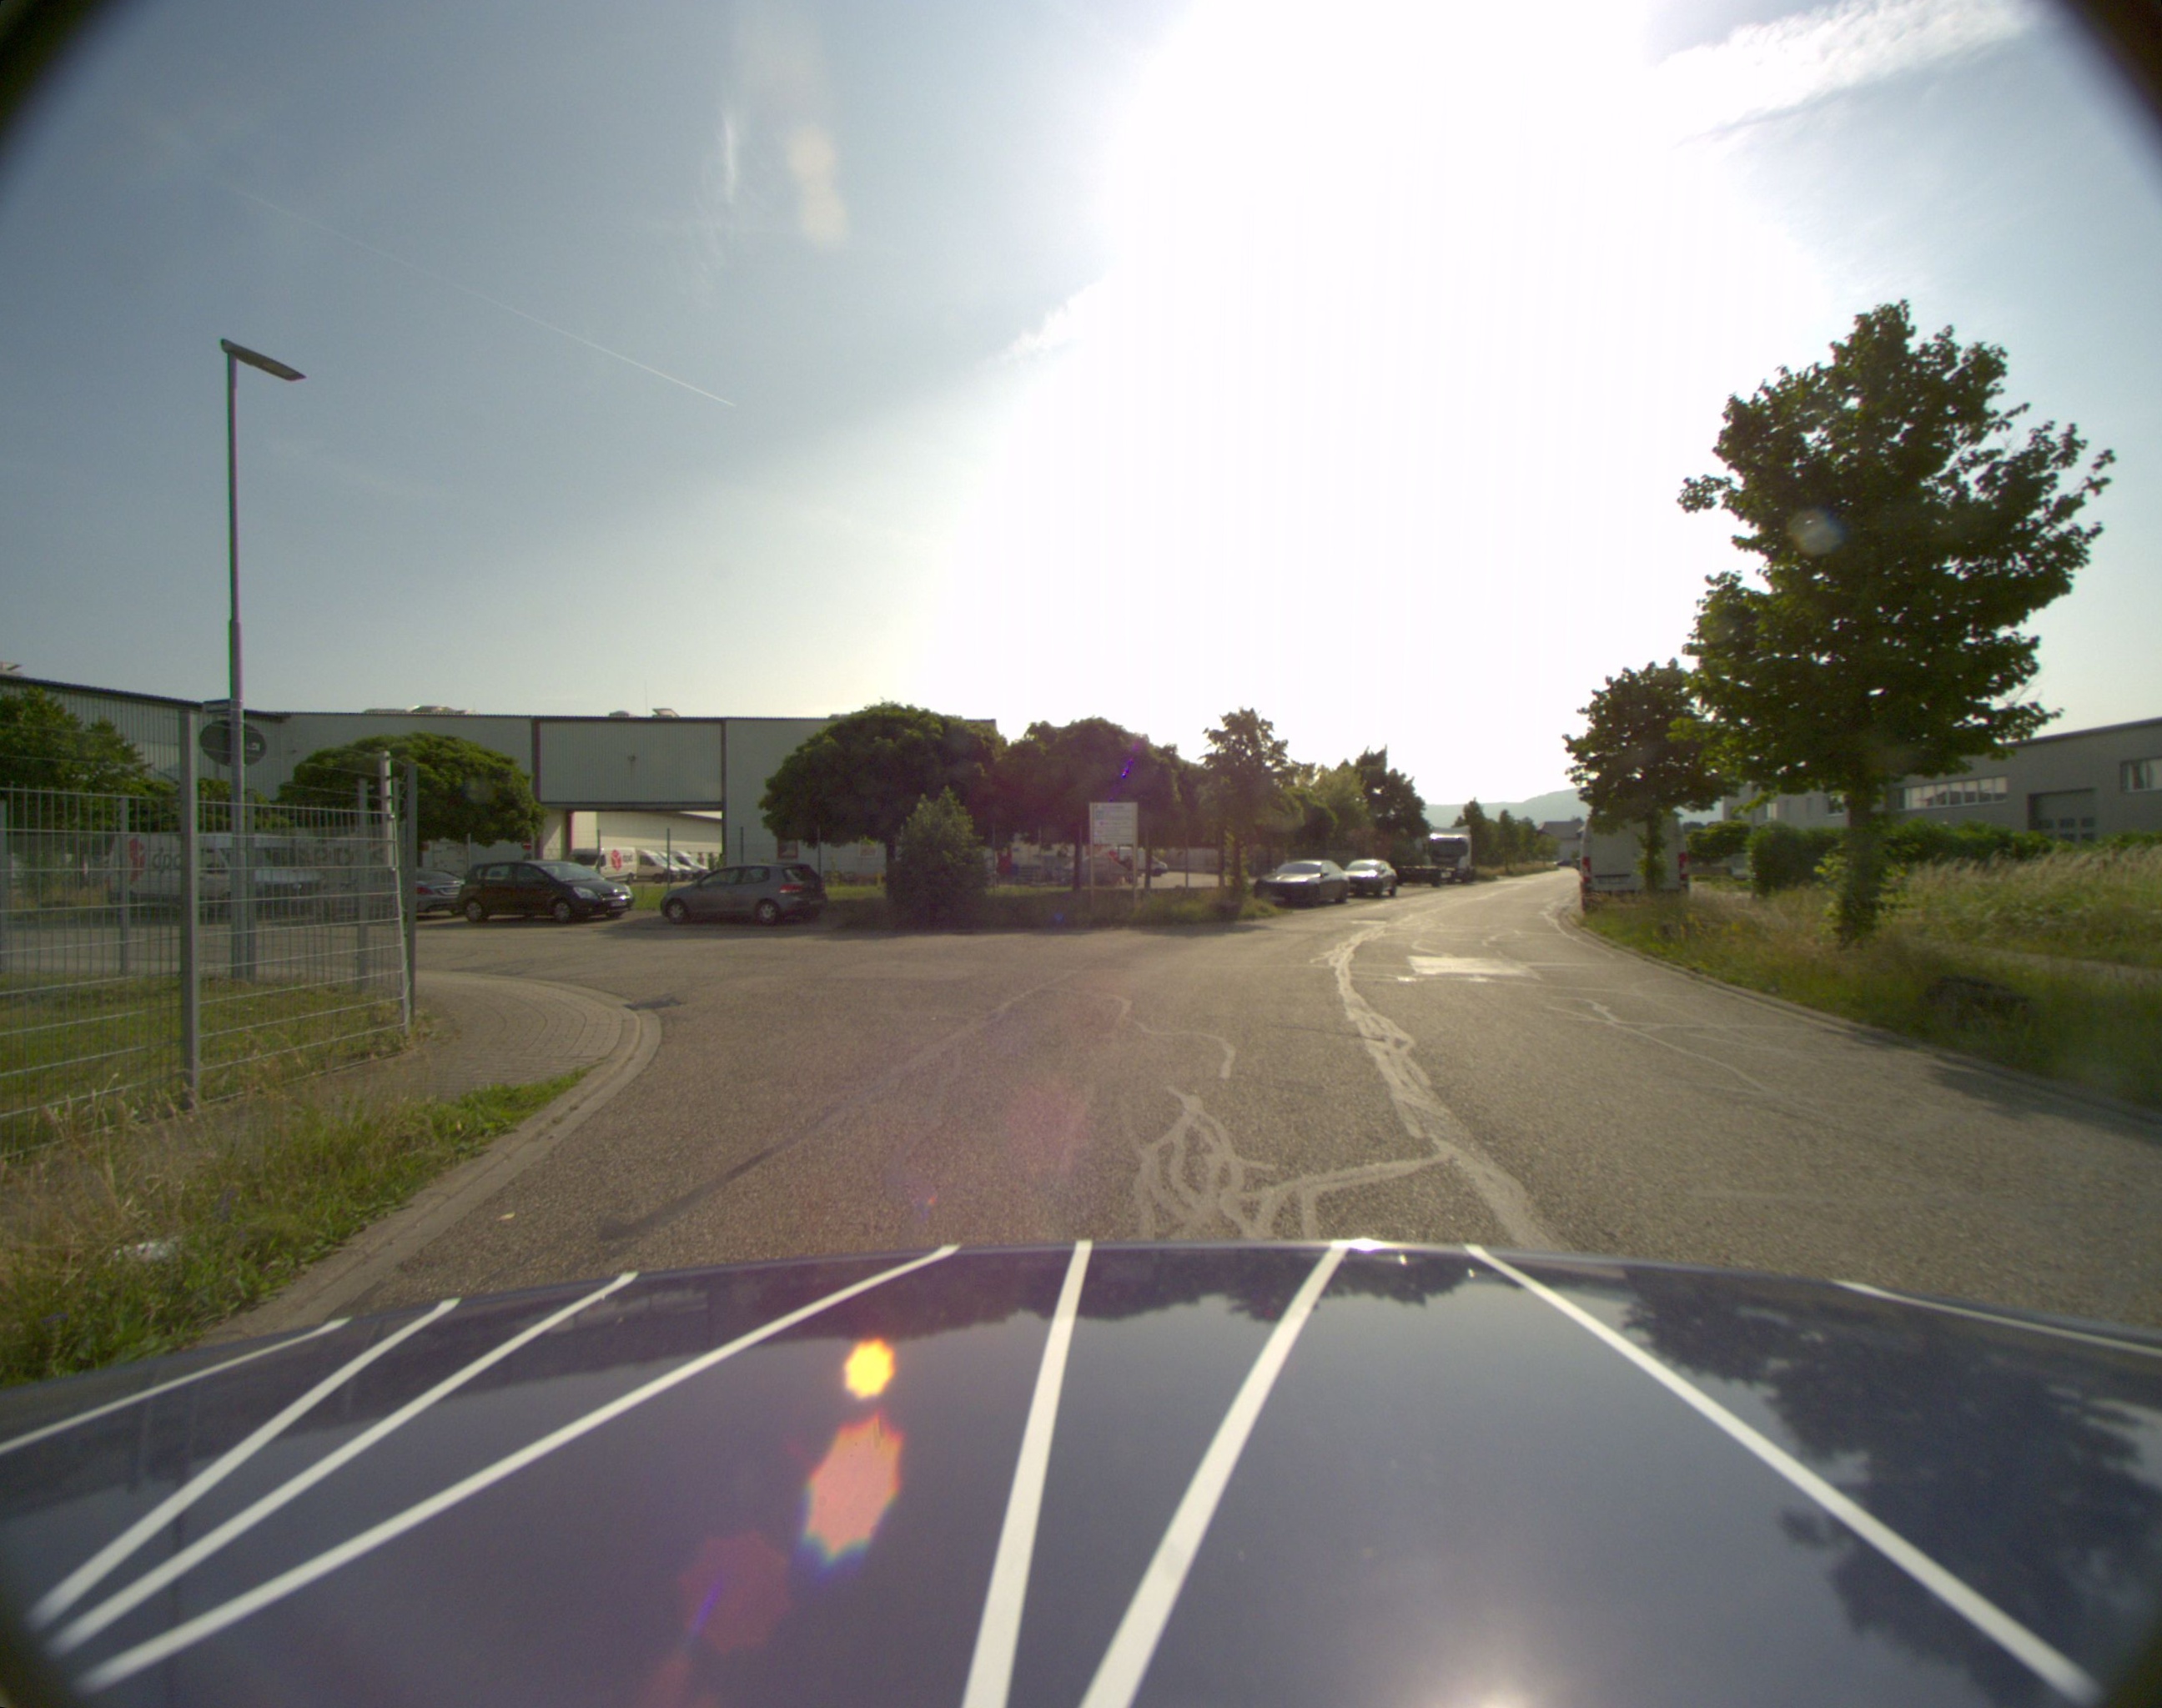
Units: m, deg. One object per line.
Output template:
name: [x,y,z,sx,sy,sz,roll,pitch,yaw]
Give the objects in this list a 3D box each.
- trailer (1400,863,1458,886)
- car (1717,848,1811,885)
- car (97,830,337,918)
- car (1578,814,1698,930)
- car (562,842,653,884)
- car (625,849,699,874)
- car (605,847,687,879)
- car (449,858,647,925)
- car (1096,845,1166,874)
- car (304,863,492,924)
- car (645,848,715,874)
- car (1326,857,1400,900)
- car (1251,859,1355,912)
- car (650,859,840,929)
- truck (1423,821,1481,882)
trailer: [21.242,1.189,46.129,1.939,1.228,7.467,1,1,34]
car: [31.555,0.562,35.243,1.835,1.562,3.822,-2,-1,18]
car: [-26.738,0.577,23.526,6.834,2.470,2.210,-1,3,18]
car: [14.626,0.430,20.306,2.103,2.579,6.517,-1,-1,32]
car: [-30.461,0.535,49.175,2.174,2.503,6.697,-1,0,-5]
car: [-33.841,0.583,61.441,4.846,1.953,1.931,0,0,-3]
car: [-31.678,0.650,55.438,4.846,2.275,1.931,0,0,-3]
car: [-13.917,0.941,19.914,4.260,1.616,1.880,0,-1,14]
car: [4.620,0.511,71.054,6.272,2.633,2.211,0,0,-6]
car: [-19.227,1.096,21.423,4.483,1.509,1.729,-1,2,16]
car: [-33.904,0.590,64.307,4.846,2.072,1.931,0,0,-3]
car: [11.967,0.990,32.114,1.881,1.565,4.122,3,2,35]
car: [7.843,0.995,26.526,1.881,1.565,5.129,1,1,36]
car: [-8.219,0.951,18.700,3.954,1.515,1.729,-1,2,14]
truck: [25.738,-0.182,52.559,2.692,3.942,6.060,2,1,33]
